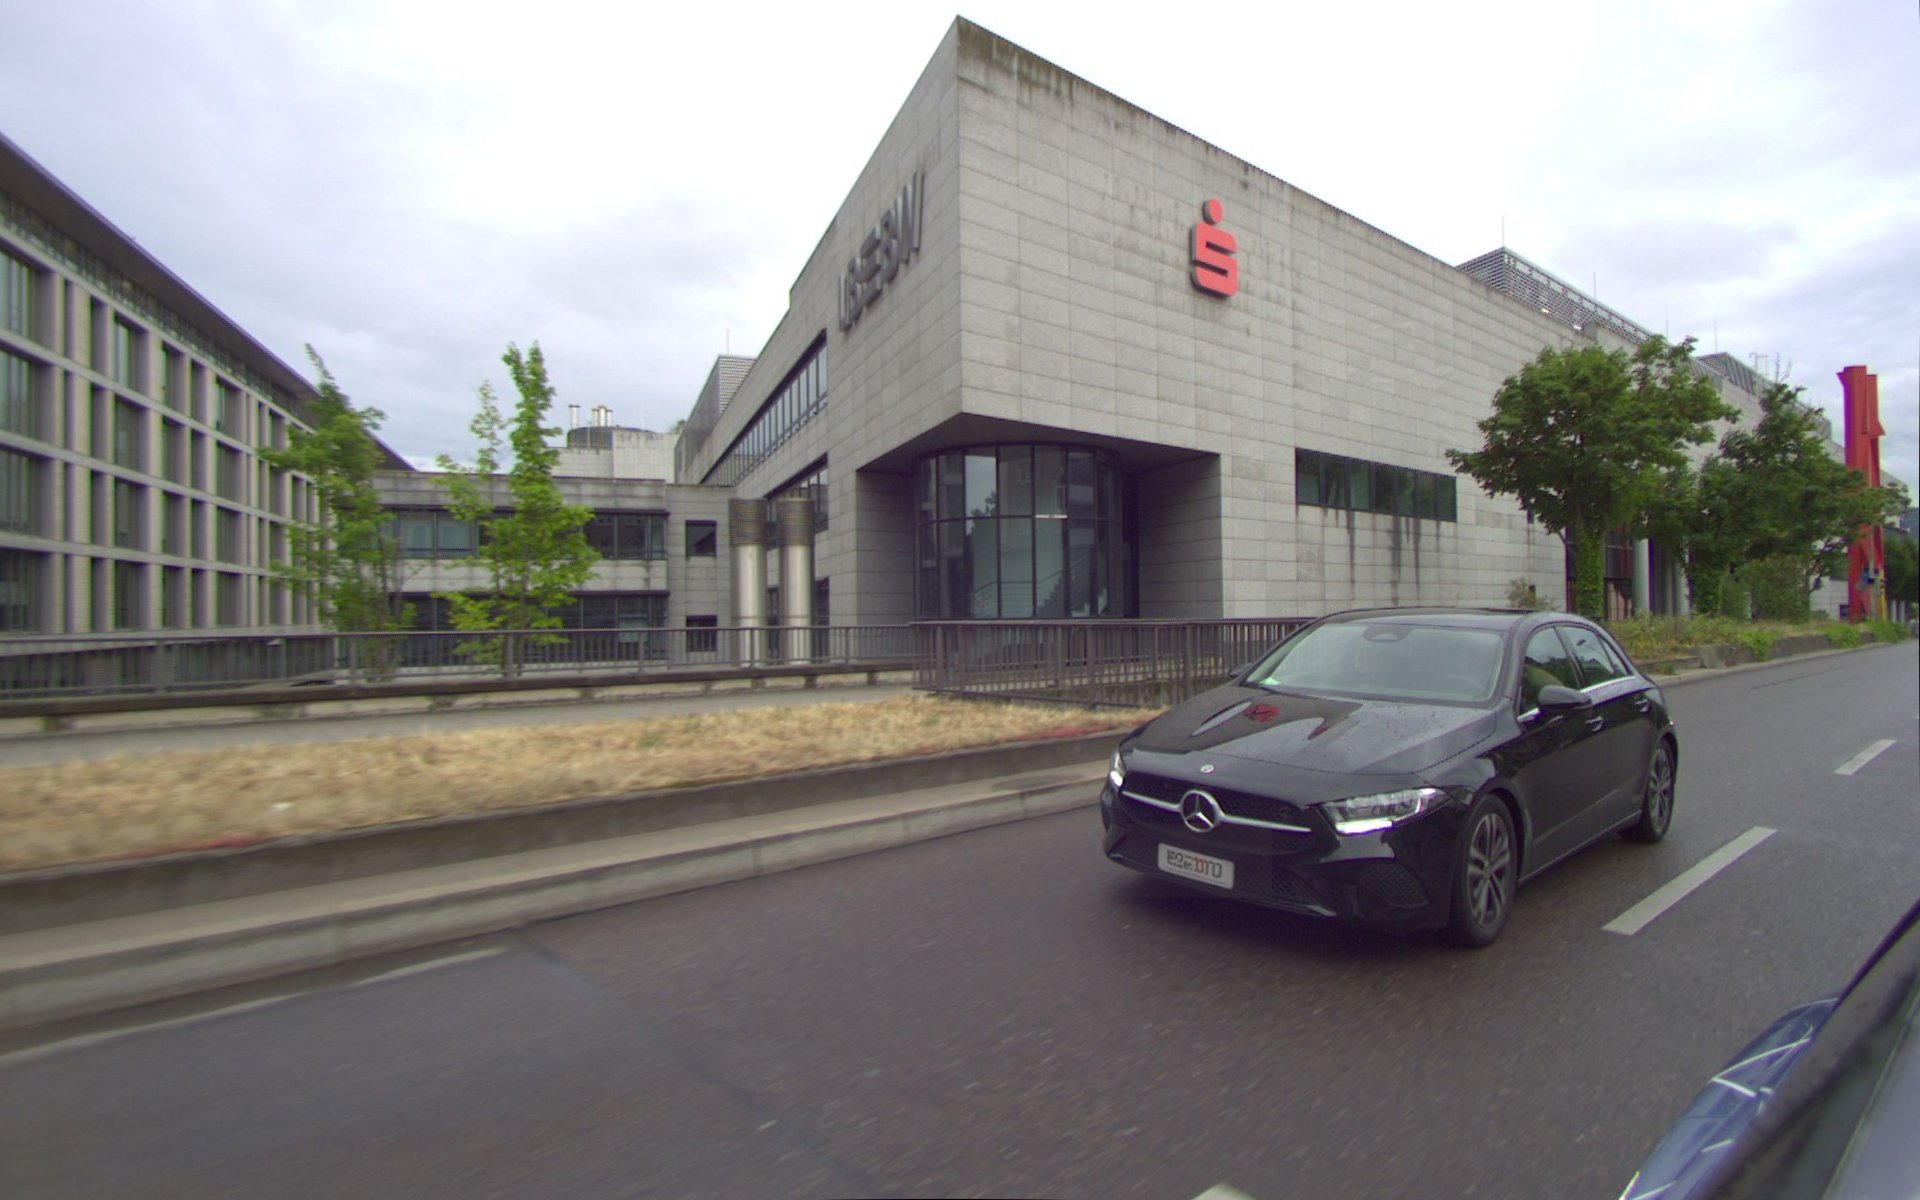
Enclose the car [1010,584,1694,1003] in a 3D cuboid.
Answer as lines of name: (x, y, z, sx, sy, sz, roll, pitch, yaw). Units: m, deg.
car: (2.399, 0.644, 5.602, 4.133, 1.454, 1.875, -1, 1, -42)
